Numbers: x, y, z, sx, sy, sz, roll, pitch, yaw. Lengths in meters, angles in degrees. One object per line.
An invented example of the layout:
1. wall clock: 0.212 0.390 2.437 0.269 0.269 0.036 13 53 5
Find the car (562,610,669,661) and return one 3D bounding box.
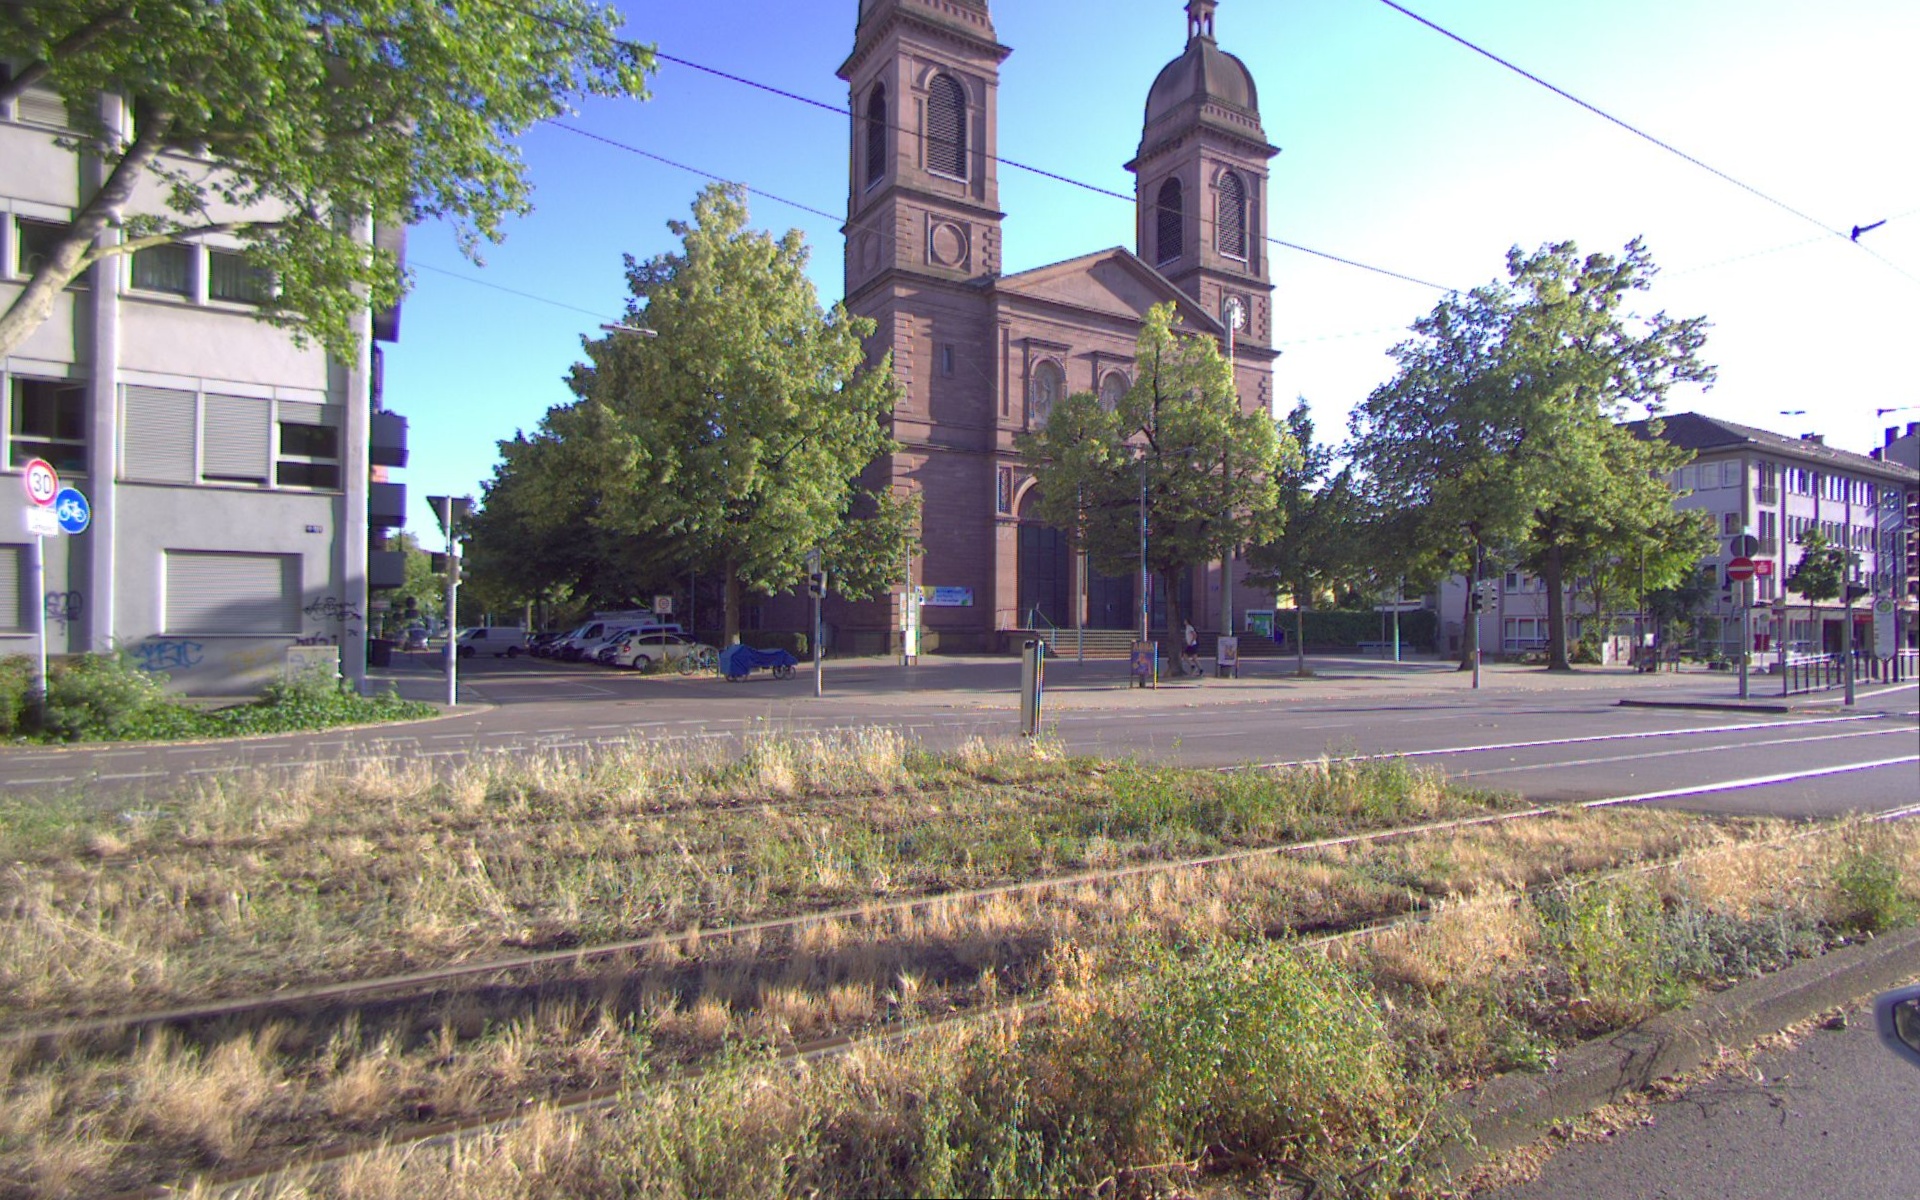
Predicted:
1. car: -18.176 1.882 53.070 5.054 2.551 1.984 1 -2 -30

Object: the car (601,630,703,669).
1. car: -13.487 2.149 43.956 3.953 1.639 1.876 1 -2 -30

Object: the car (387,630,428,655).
1. car: -47.015 3.614 85.459 1.985 2.040 5.360 2 -2 -41

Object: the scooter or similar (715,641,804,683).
1. scooter or similar: -6.118 1.872 30.701 2.419 1.141 1.088 -1 0 -30

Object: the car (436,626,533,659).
1. car: -30.619 2.737 64.830 1.966 2.040 5.412 -1 -2 32

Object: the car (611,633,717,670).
1. car: -12.268 2.112 41.666 3.953 1.416 1.802 0 -1 -30

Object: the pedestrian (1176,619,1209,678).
1. pedestrian: 7.154 1.494 30.941 0.684 1.789 0.733 1 -1 -31

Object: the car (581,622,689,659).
1. car: -15.586 1.938 48.201 4.655 1.684 1.984 1 -2 -30
